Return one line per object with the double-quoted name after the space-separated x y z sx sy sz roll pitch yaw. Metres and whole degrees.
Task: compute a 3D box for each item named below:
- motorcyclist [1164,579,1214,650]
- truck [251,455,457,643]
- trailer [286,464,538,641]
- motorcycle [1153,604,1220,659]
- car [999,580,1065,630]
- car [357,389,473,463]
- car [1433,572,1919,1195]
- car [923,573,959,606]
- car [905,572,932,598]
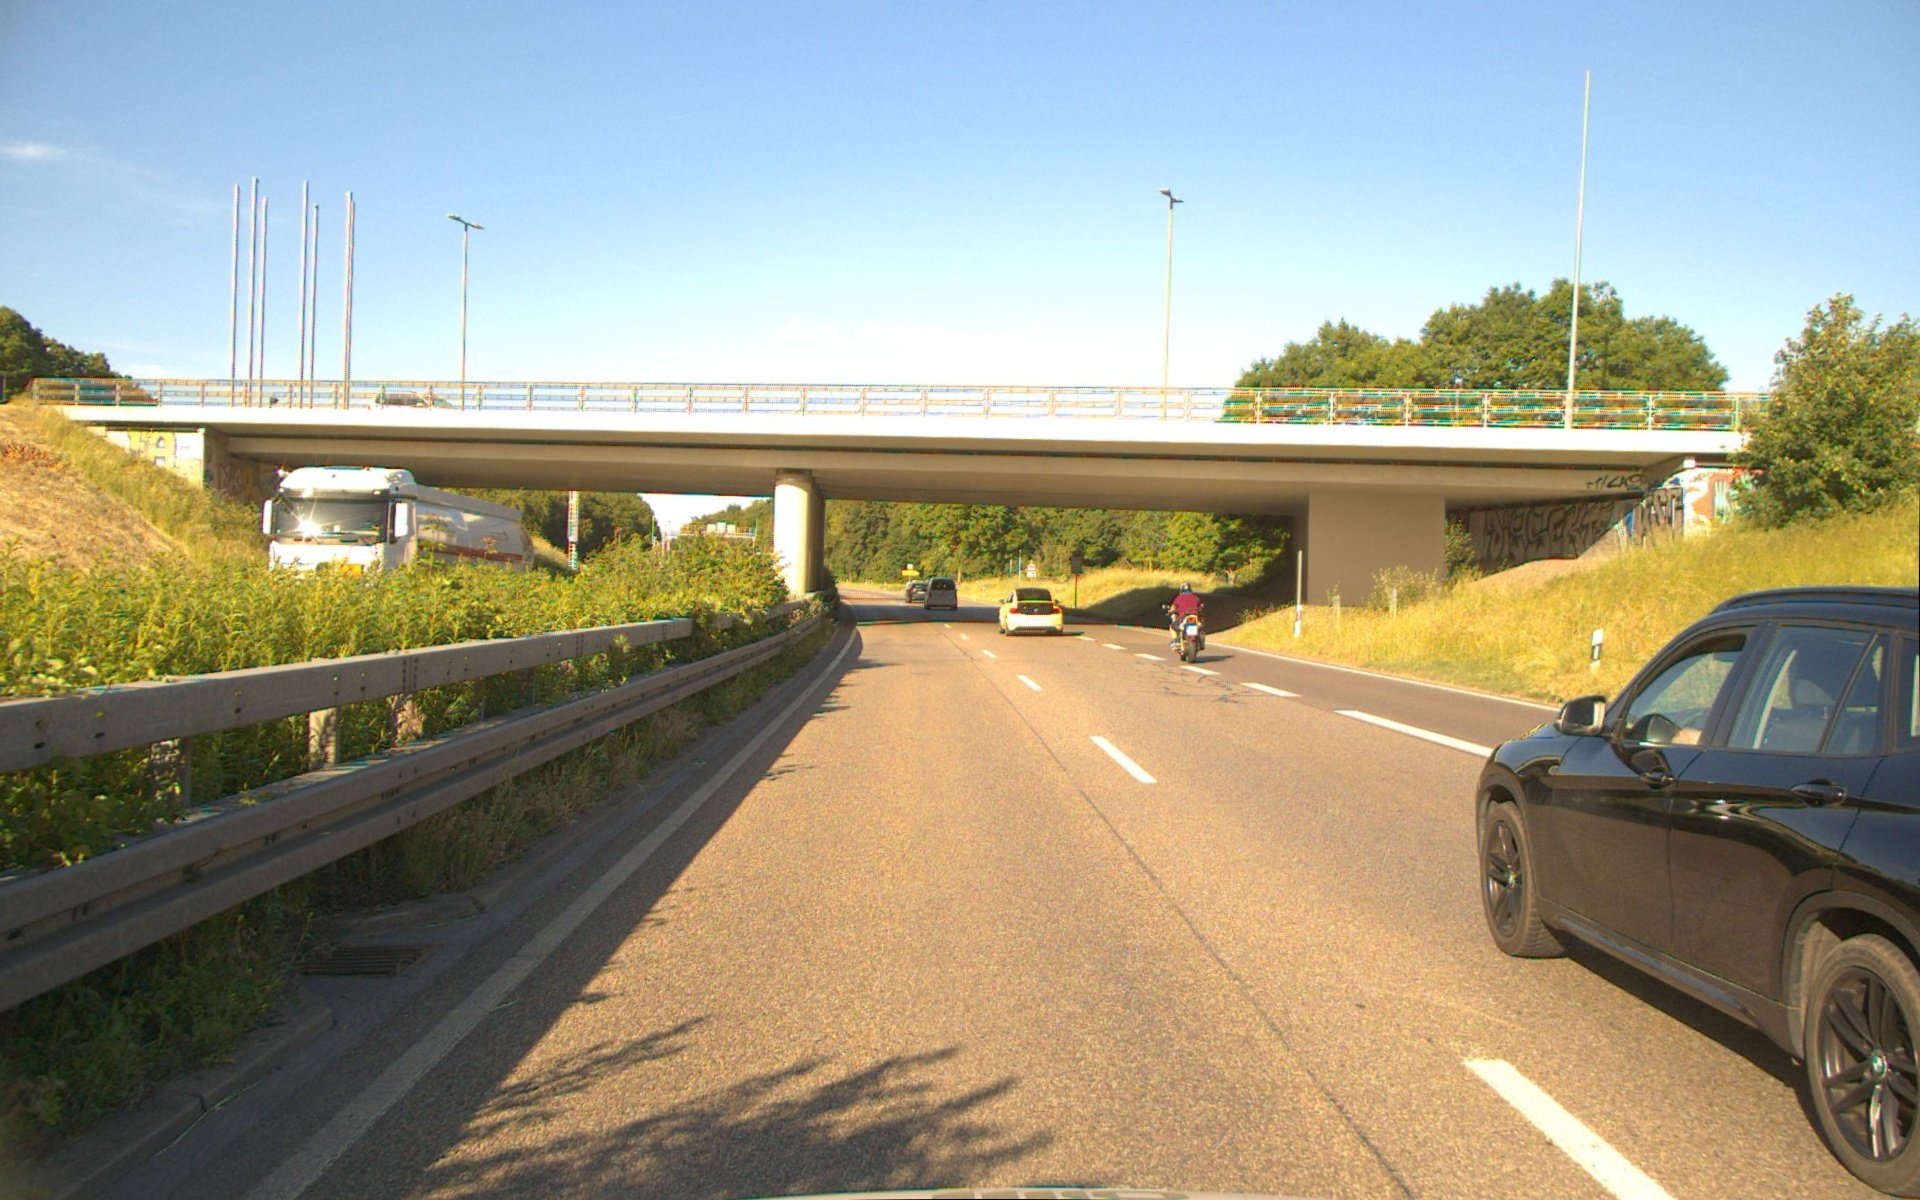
4.831 0.291 34.946 0.801 1.472 1.092 1 0 -5 "motorcyclist"
-13.041 -1.053 36.078 2.721 3.721 5.320 1 1 -3 "truck"
-13.294 -1.087 41.565 2.721 3.721 12.199 1 1 -3 "trailer"
4.803 0.649 35.216 0.800 1.088 2.833 1 0 -5 "motorcycle"
2.243 0.122 52.378 1.858 1.496 4.000 0 1 -1 "car"
-22.810 -7.241 69.267 4.221 2.854 2.081 2 0 21 "car"
3.159 0.675 5.653 1.664 1.532 4.578 -1 1 -1 "car"
-1.127 -0.602 94.243 1.859 1.798 3.997 -1 0 -3 "car"
-2.951 -1.045 117.095 1.859 1.798 3.998 0 1 -3 "car"
